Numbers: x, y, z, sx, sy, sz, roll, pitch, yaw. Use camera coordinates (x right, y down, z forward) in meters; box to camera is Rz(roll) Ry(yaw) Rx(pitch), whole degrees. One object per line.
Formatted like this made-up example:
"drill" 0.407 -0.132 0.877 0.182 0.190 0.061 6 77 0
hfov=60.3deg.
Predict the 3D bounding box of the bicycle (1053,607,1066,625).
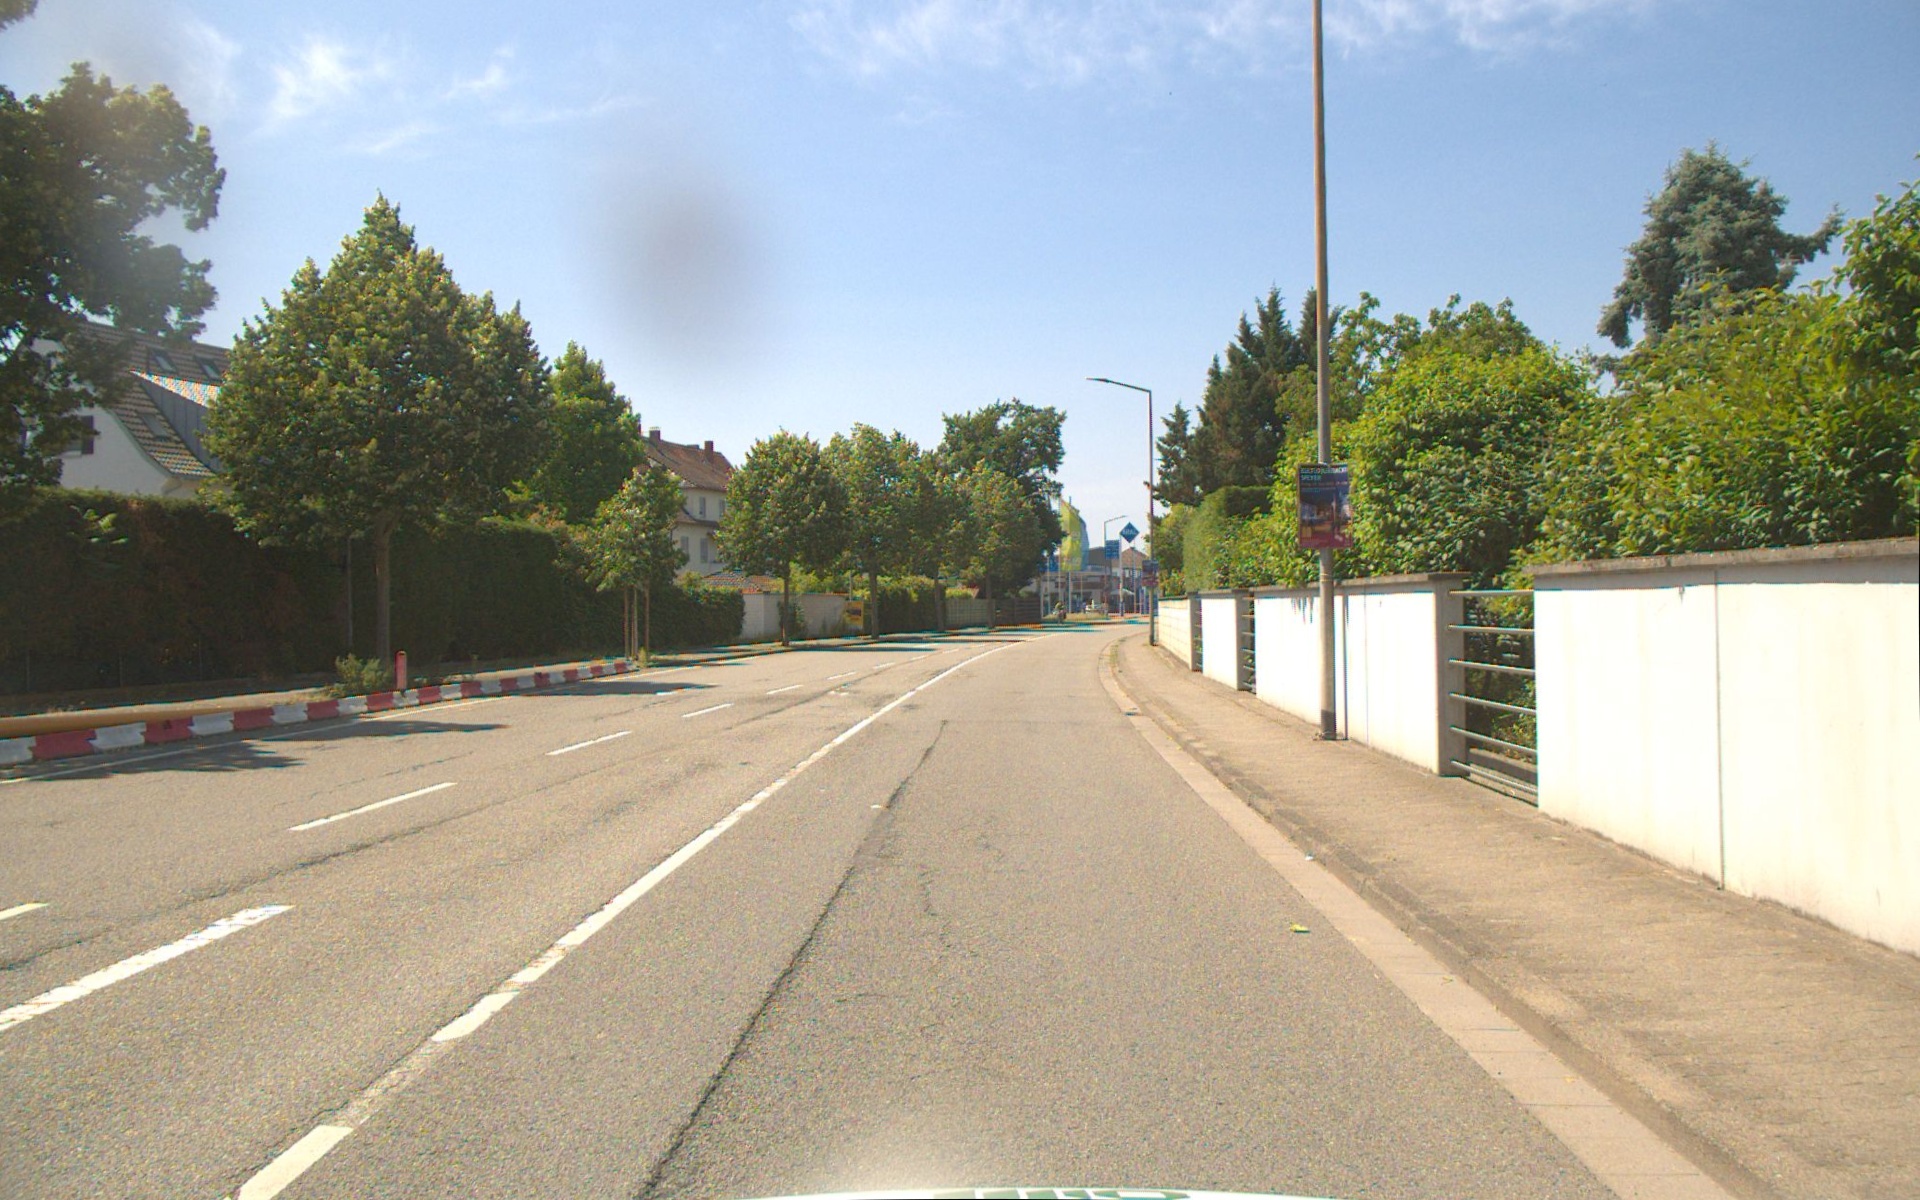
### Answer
"bicycle" 6.852 1.074 113.824 0.618 1.201 1.817 -1 0 11

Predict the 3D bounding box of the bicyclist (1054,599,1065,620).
"bicyclist" 6.831 0.627 113.746 0.615 1.433 0.677 -1 -1 11

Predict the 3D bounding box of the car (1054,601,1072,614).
"car" 12.278 0.934 197.244 1.582 1.445 3.715 -3 -1 11

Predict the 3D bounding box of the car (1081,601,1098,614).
"car" 15.442 0.931 196.864 1.582 1.445 3.715 -3 -1 11
